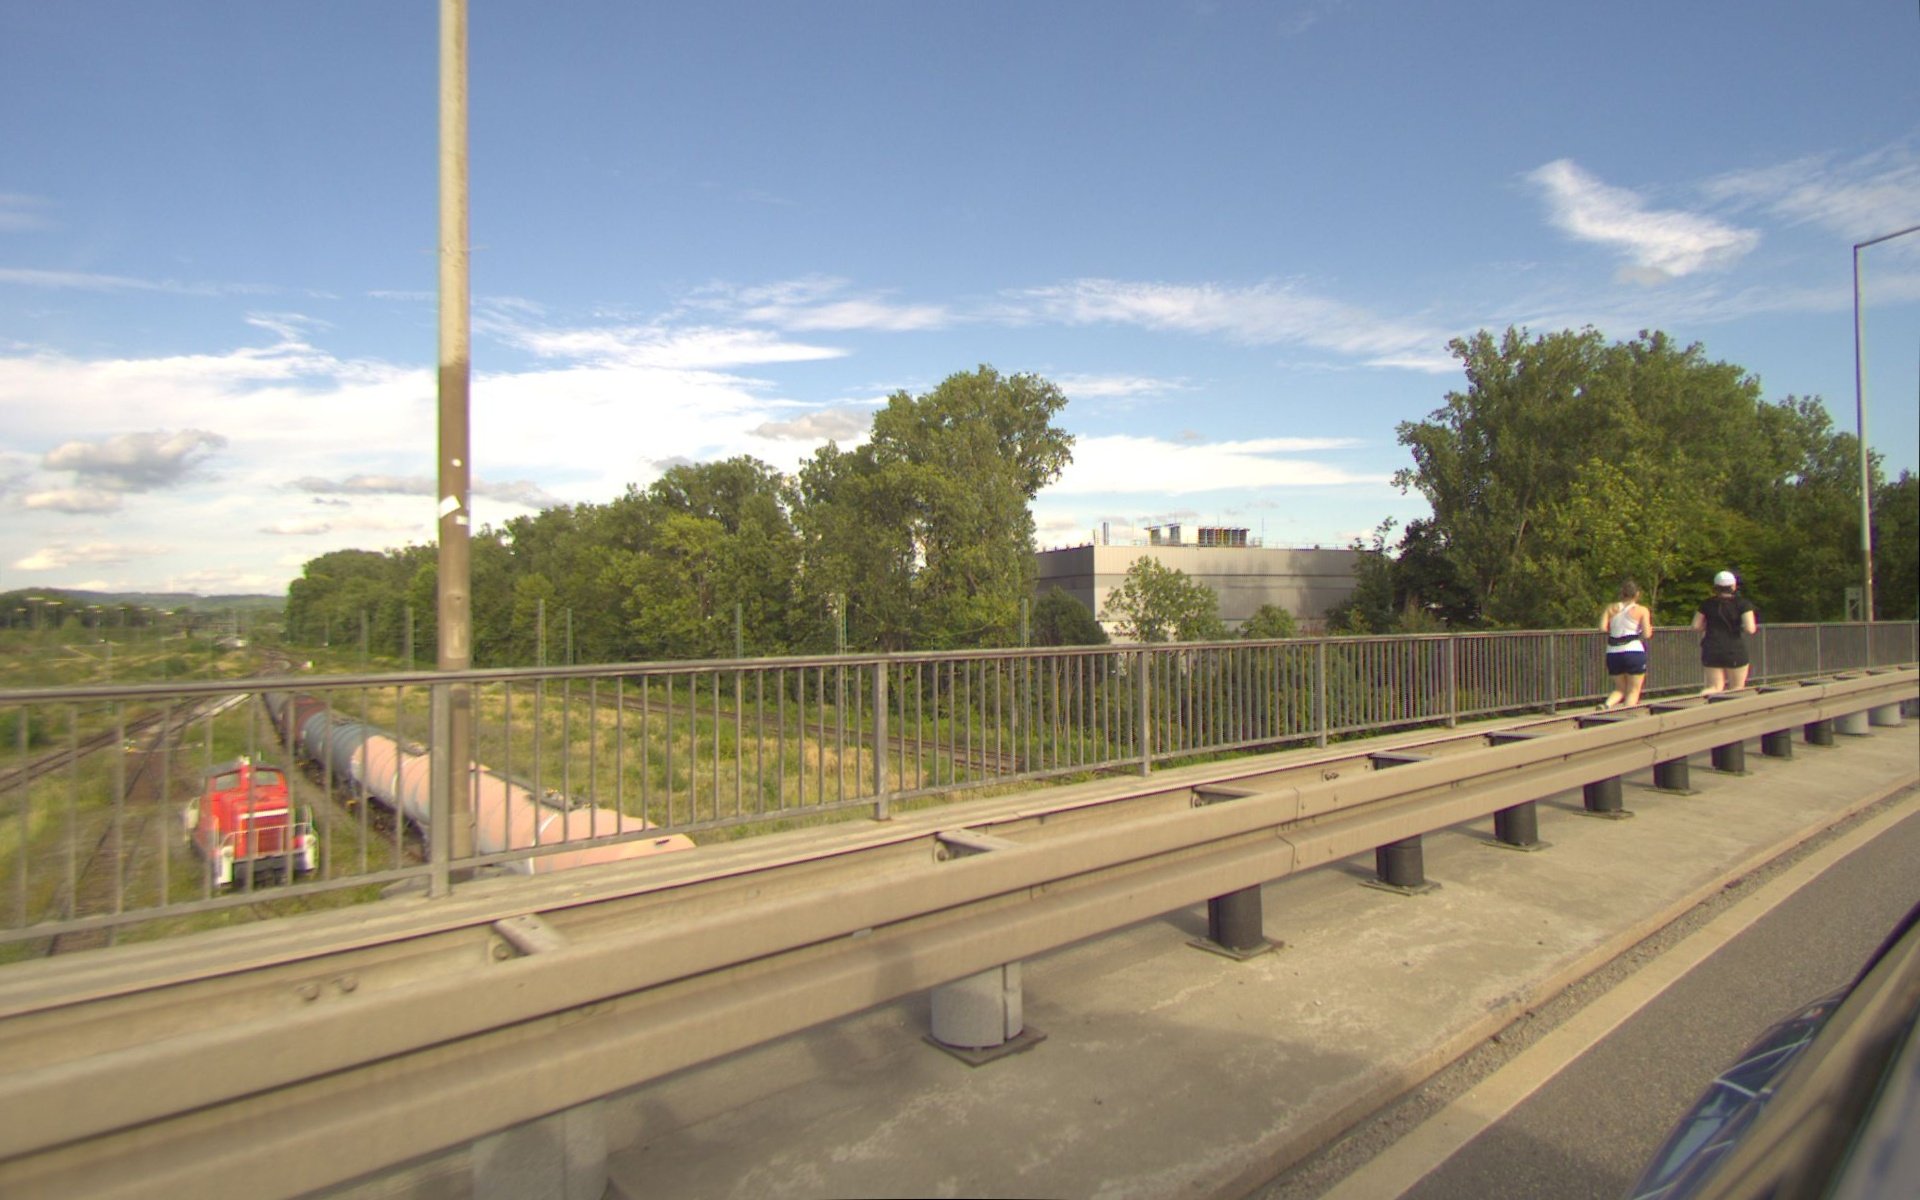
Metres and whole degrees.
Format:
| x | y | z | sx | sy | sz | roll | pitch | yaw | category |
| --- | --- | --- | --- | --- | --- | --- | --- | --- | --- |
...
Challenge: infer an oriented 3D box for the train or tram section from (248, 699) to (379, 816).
| x | y | z | sx | sy | sz | roll | pitch | yaw | category |
| --- | --- | --- | --- | --- | --- | --- | --- | --- | --- |
| -36.731 | 8.442 | 56.980 | 3.046 | 4.773 | 16.703 | 0 | -1 | -44 | train or tram section |

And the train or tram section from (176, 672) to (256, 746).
| x | y | z | sx | sy | sz | roll | pitch | yaw | category |
| --- | --- | --- | --- | --- | --- | --- | --- | --- | --- |
| -59.810 | 8.499 | 81.099 | 3.046 | 4.773 | 16.703 | 0 | -1 | -44 | train or tram section |

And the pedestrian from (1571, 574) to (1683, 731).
| x | y | z | sx | sy | sz | roll | pitch | yaw | category |
| --- | --- | --- | --- | --- | --- | --- | --- | --- | --- |
| 6.998 | 0.510 | 10.617 | 0.942 | 1.563 | 0.679 | 0 | 1 | -35 | pedestrian |

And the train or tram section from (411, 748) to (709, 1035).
| x | y | z | sx | sy | sz | roll | pitch | yaw | category |
| --- | --- | --- | --- | --- | --- | --- | --- | --- | --- |
| -13.669 | 8.409 | 32.724 | 3.045 | 4.771 | 16.712 | 0 | 2 | -43 | train or tram section |

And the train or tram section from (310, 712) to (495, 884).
| x | y | z | sx | sy | sz | roll | pitch | yaw | category |
| --- | --- | --- | --- | --- | --- | --- | --- | --- | --- |
| -25.169 | 8.168 | 44.876 | 3.046 | 4.772 | 16.707 | 0 | 0 | -44 | train or tram section |

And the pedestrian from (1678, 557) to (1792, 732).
| x | y | z | sx | sy | sz | roll | pitch | yaw | category |
| --- | --- | --- | --- | --- | --- | --- | --- | --- | --- |
| 7.837 | 0.417 | 10.240 | 0.849 | 1.682 | 0.679 | 0 | 1 | -35 | pedestrian |

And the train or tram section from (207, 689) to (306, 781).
| x | y | z | sx | sy | sz | roll | pitch | yaw | category |
| --- | --- | --- | --- | --- | --- | --- | --- | --- | --- |
| -48.248 | 8.879 | 69.058 | 3.046 | 4.773 | 16.703 | 0 | -1 | -44 | train or tram section |

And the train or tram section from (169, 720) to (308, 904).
| x | y | z | sx | sy | sz | roll | pitch | yaw | category |
| --- | --- | --- | --- | --- | --- | --- | --- | --- | --- |
| -30.799 | 8.262 | 42.657 | 3.043 | 4.196 | 17.274 | 0 | 2 | -41 | train or tram section |
